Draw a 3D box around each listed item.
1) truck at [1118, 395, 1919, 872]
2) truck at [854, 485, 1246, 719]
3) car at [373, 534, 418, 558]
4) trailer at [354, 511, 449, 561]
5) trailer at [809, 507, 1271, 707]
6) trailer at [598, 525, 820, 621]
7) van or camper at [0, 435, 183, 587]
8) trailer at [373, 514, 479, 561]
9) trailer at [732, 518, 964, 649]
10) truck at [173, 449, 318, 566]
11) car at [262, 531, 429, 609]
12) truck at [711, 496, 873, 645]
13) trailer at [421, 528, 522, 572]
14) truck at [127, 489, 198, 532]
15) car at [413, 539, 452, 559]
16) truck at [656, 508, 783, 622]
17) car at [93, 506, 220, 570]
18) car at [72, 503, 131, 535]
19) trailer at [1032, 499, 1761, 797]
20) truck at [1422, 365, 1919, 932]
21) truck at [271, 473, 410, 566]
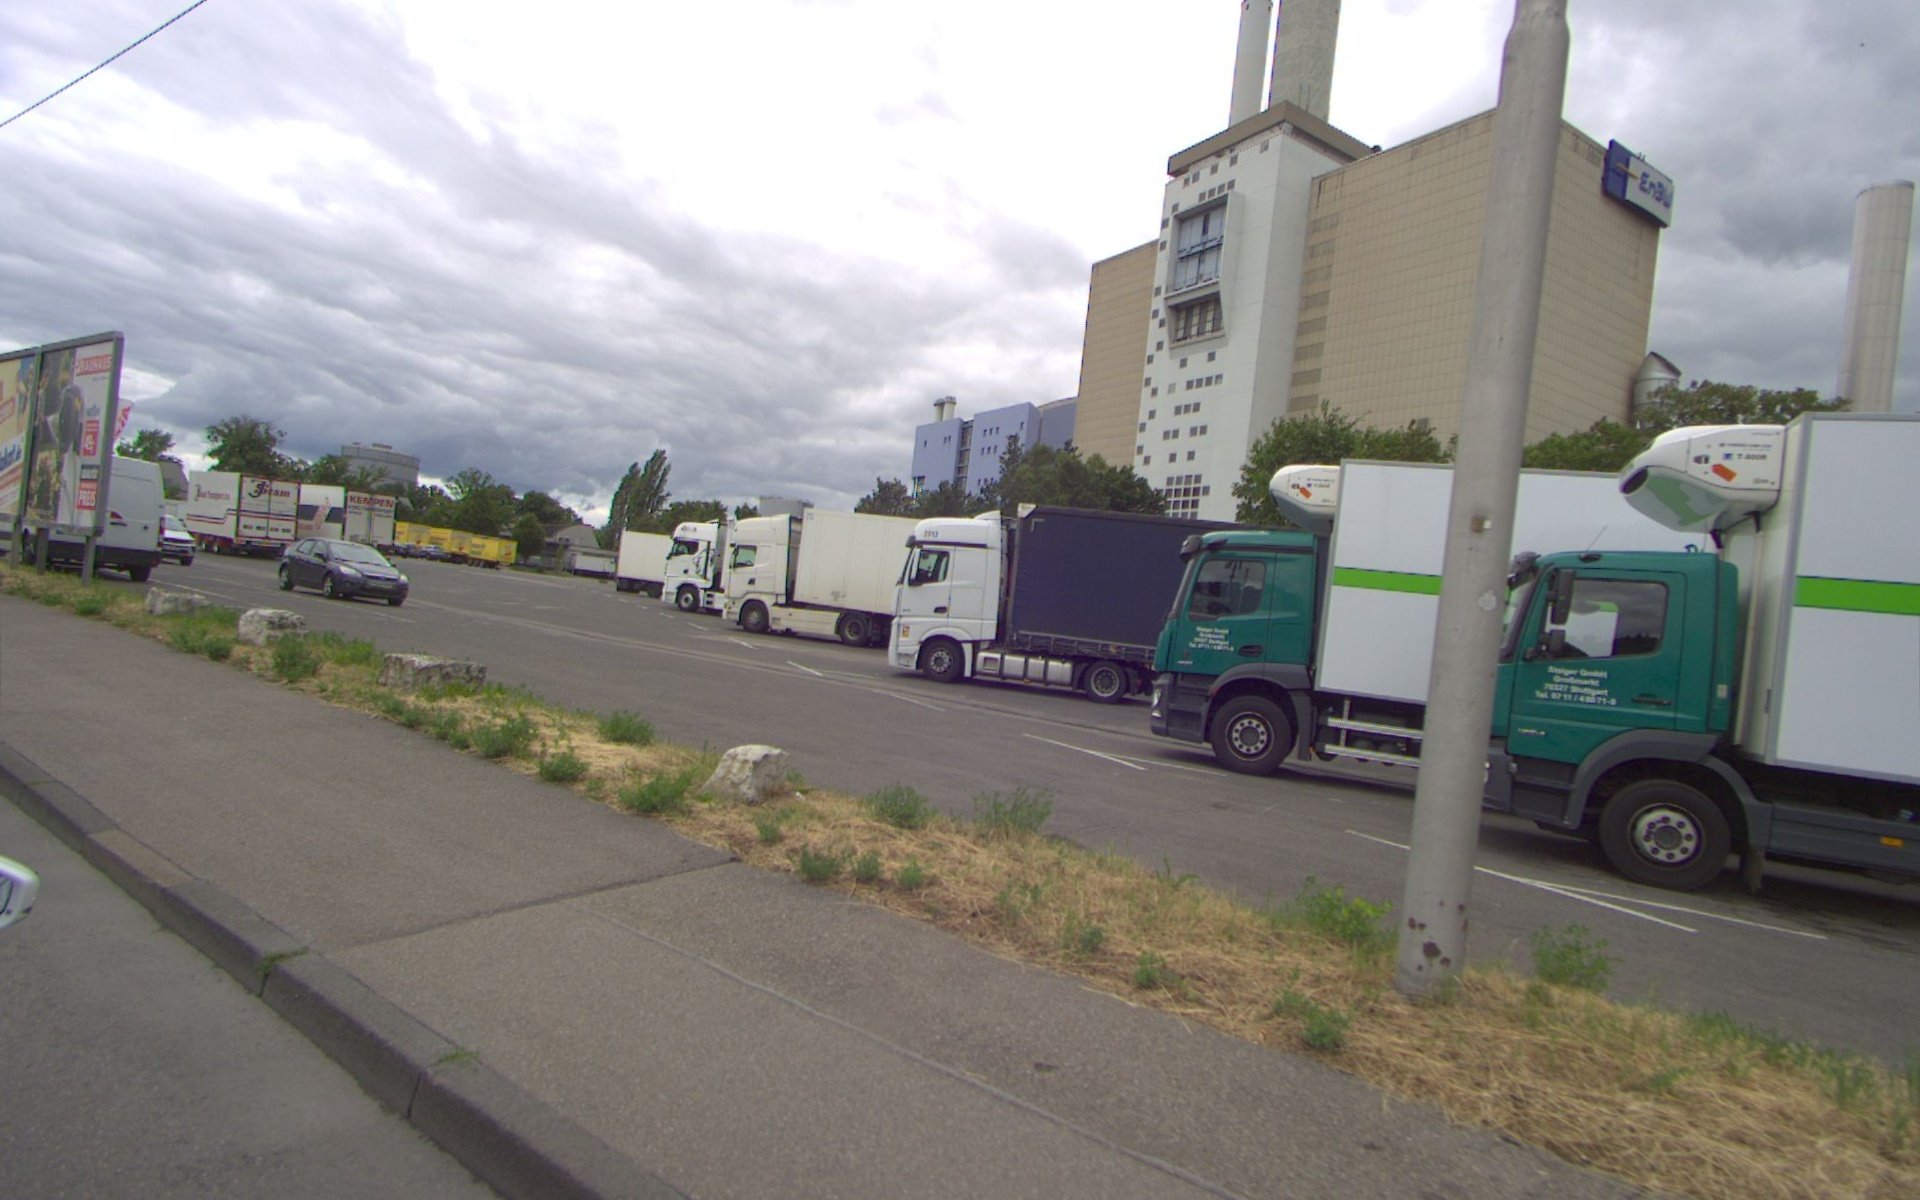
[{"bbox_3d":[7.576,0.276,12.244,10.364,4.484,2.990,6,-2,21],"label":"truck"},{"bbox_3d":[2.072,0.006,22.558,7.884,4.050,3.075,6,0,15],"label":"truck"},{"bbox_3d":[-51.313,-4.911,91.362,3.938,1.638,1.994,7,0,36],"label":"car"},{"bbox_3d":[-63.771,-7.369,114.589,14.685,4.202,2.871,8,1,34],"label":"trailer"},{"bbox_3d":[2.076,0.029,30.139,13.241,4.231,2.705,7,0,23],"label":"trailer"},{"bbox_3d":[-16.118,-1.779,64.107,14.150,4.259,3.109,8,1,21],"label":"trailer"},{"bbox_3d":[-19.311,-1.959,21.748,6.020,2.680,2.256,6,0,36],"label":"van or camper"},{"bbox_3d":[-64.035,-7.587,120.259,17.747,3.911,3.598,8,0,36],"label":"trailer"},{"bbox_3d":[-4.654,-0.689,41.722,8.772,4.242,2.768,8,1,19],"label":"trailer"},{"bbox_3d":[-36.421,-4.756,51.167,8.385,5.156,3.307,7,0,37],"label":"truck"},{"bbox_3d":[-15.918,-0.792,25.995,4.357,1.461,1.893,6,-3,33],"label":"car"},{"bbox_3d":[-5.545,-0.941,33.358,4.003,4.265,2.707,8,1,23],"label":"truck"},{"bbox_3d":[-63.477,-6.580,130.388,17.747,3.911,3.598,8,0,36],"label":"trailer"},{"bbox_3d":[-74.908,-8.405,94.429,7.392,3.184,3.175,8,0,36],"label":"truck"},{"bbox_3d":[-55.645,-5.354,106.121,3.938,1.638,1.994,7,0,36],"label":"car"},{"bbox_3d":[-10.425,-1.480,43.722,4.078,4.267,2.787,8,1,19],"label":"truck"},{"bbox_3d":[-26.484,-2.055,33.128,4.357,1.631,1.891,6,-1,33],"label":"car"},{"bbox_3d":[-59.922,-5.672,70.223,3.935,1.726,1.995,6,-1,33],"label":"car"},{"bbox_3d":[8.316,0.766,21.169,12.853,4.026,3.065,8,1,15],"label":"trailer"},{"bbox_3d":[9.275,0.727,7.401,10.246,3.875,2.989,7,-1,25],"label":"truck"},{"bbox_3d":[-33.323,-4.360,53.989,8.385,4.196,3.306,7,0,38],"label":"truck"}]
